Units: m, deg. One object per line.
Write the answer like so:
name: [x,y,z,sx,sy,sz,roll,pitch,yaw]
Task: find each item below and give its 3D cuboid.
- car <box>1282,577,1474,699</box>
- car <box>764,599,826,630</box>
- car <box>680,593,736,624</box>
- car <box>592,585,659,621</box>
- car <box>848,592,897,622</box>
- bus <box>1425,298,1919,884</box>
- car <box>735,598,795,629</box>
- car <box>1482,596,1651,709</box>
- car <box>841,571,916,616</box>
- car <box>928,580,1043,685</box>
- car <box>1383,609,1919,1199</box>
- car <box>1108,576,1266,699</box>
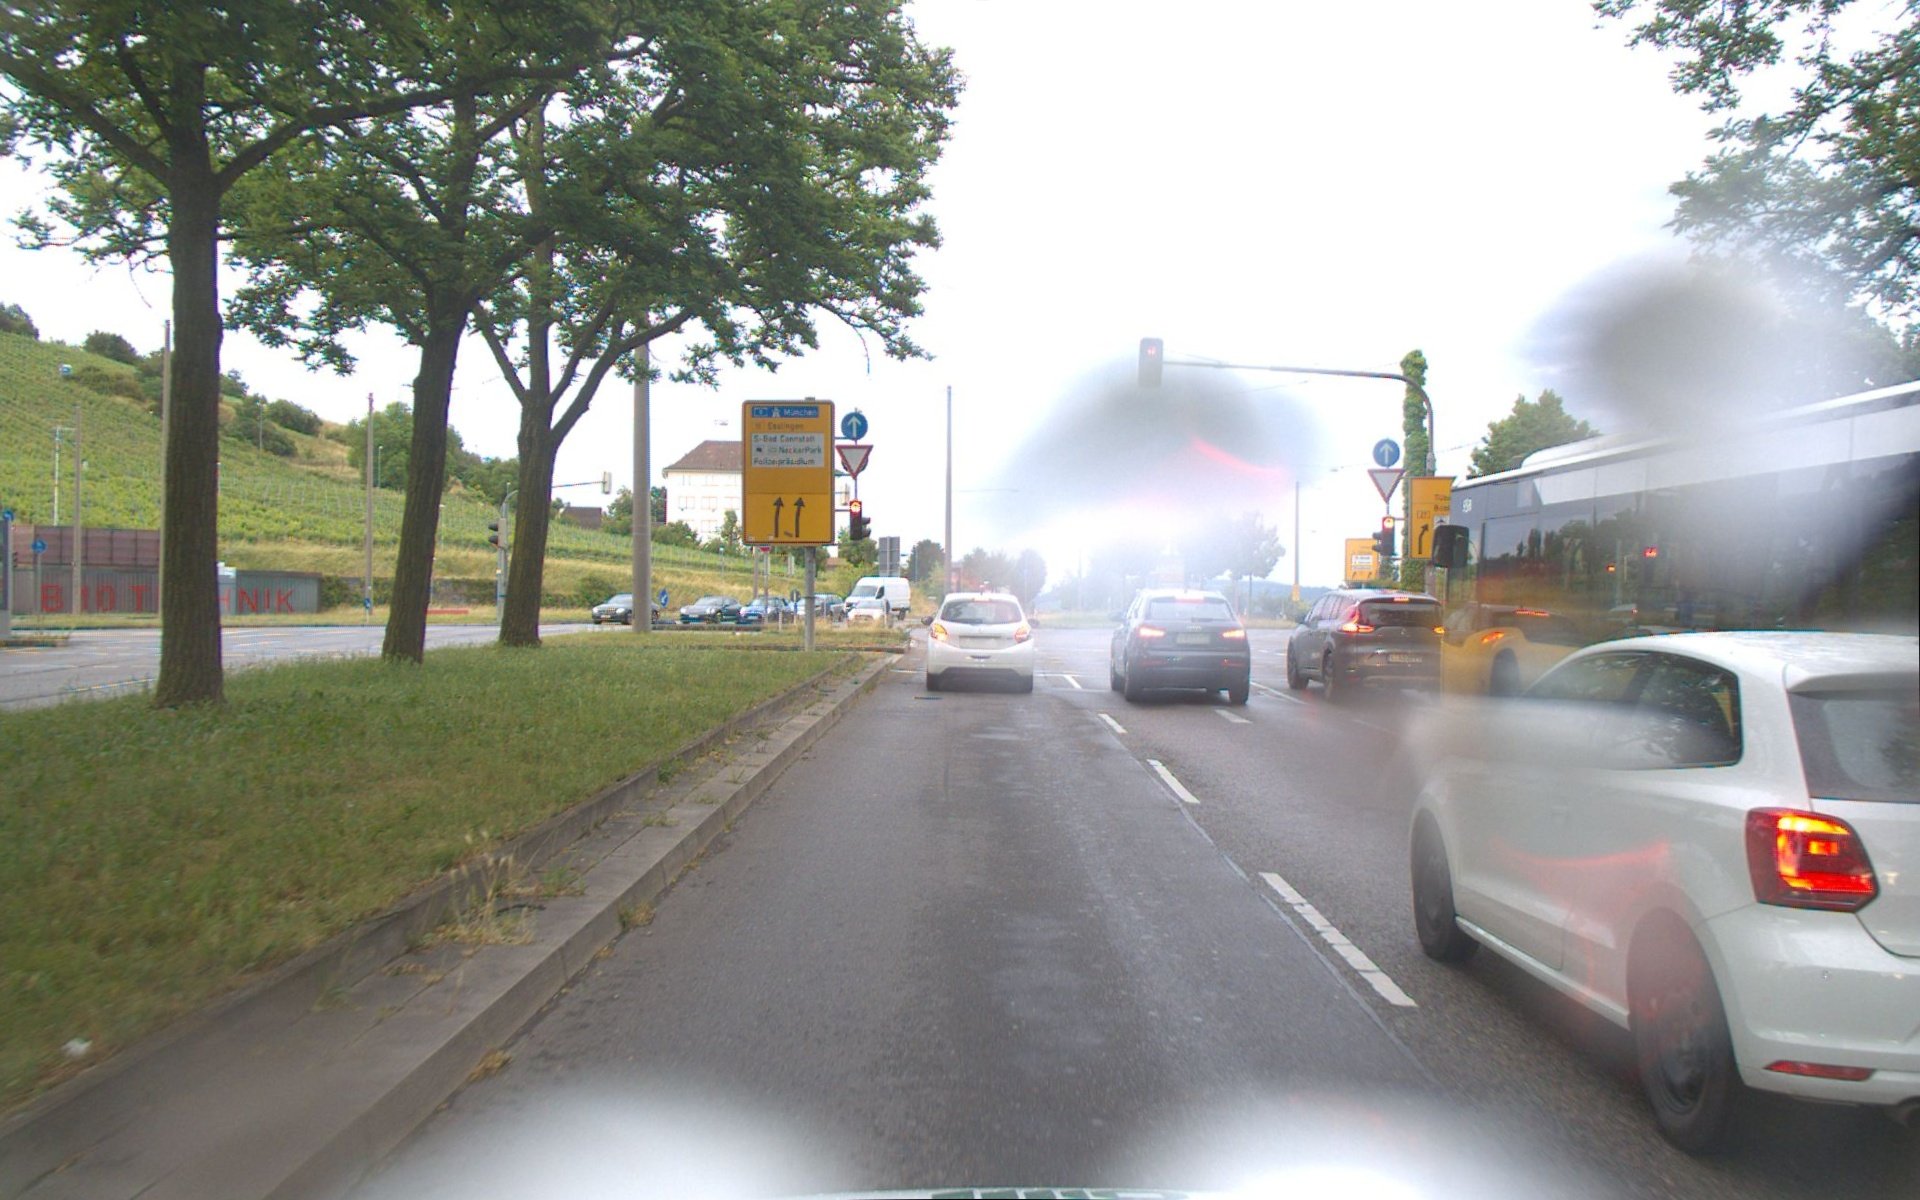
car: [6.412,0.512,25.900,1.827,1.703,4.566,1,1,0]
car: [-8.598,0.757,86.815,1.860,1.515,4.896,2,0,11]
car: [-12.598,0.445,82.835,1.748,1.420,3.884,2,-1,7]
car: [-16.384,0.181,81.124,1.790,1.652,4.569,2,0,7]
car: [-4.289,0.342,81.482,1.738,1.450,4.377,0,-1,6]
bus: [6.699,-0.071,13.342,2.670,3.206,12.148,2,1,1]
car: [-9.515,0.683,80.827,1.748,1.420,3.885,2,-1,11]
car: [9.084,0.765,24.564,1.829,1.524,4.146,-2,-2,27]
car: [-5.097,-0.392,104.296,1.954,2.604,6.164,2,0,26]
car: [0.406,0.489,26.581,1.682,1.515,4.000,1,0,1]
car: [2.882,0.797,5.901,1.705,1.457,3.811,2,0,0]
car: [3.334,0.529,24.982,1.845,1.623,4.114,2,0,1]
